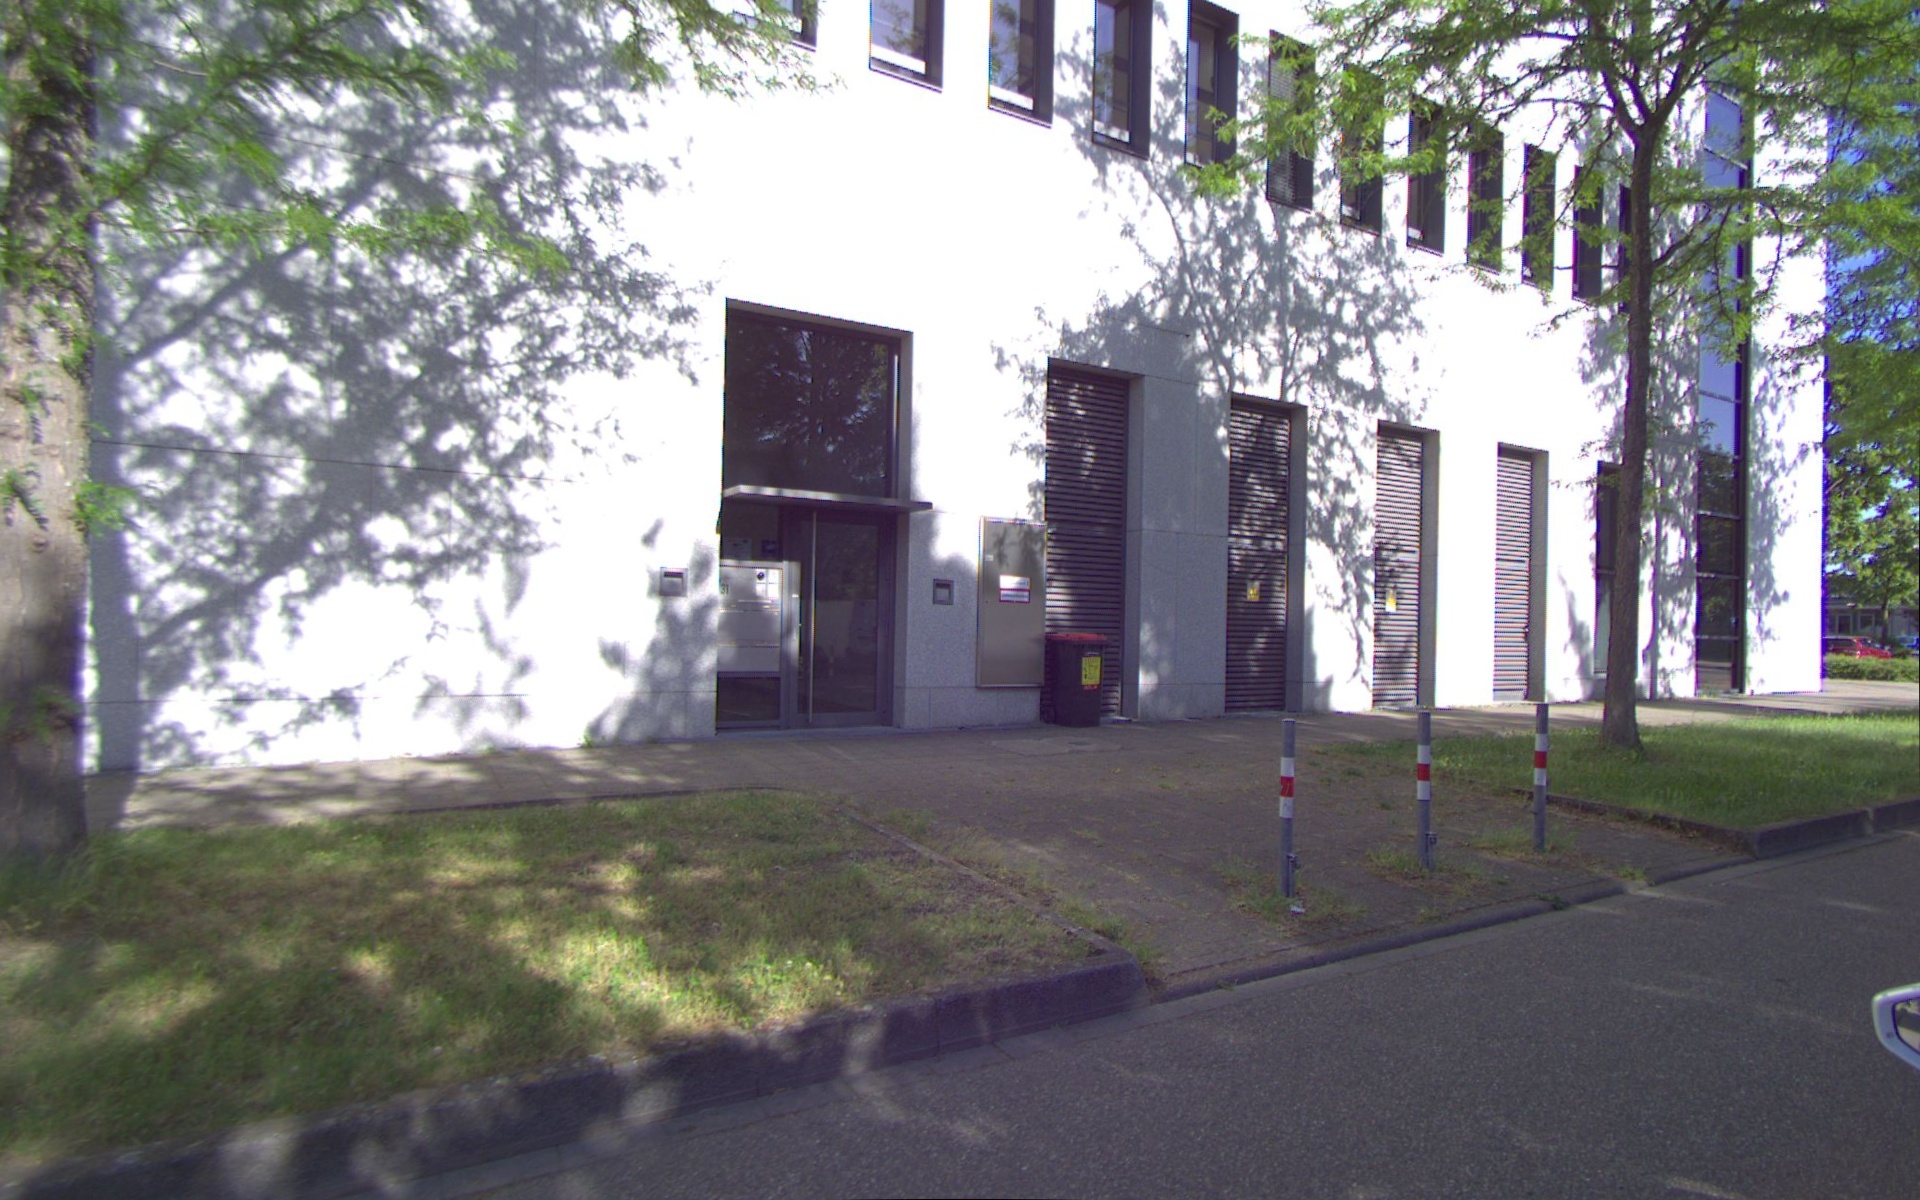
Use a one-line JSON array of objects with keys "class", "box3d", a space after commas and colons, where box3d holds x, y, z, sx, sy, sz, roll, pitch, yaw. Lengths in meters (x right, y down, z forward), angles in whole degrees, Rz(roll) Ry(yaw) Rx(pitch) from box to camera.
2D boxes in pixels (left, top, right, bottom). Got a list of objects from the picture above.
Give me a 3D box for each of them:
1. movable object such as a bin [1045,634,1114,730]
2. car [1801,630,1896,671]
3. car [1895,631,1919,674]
[{"class": "movable object such as a bin", "box3d": [1.379, 0.933, 11.641, 0.537, 1.054, 0.590, 1, 0, -31]}, {"class": "car", "box3d": [33.859, 1.894, 38.265, 3.868, 1.445, 1.658, 1, 0, -32]}, {"class": "car", "box3d": [35.155, 1.859, 35.757, 3.868, 1.456, 1.793, 0, 0, -32]}]
